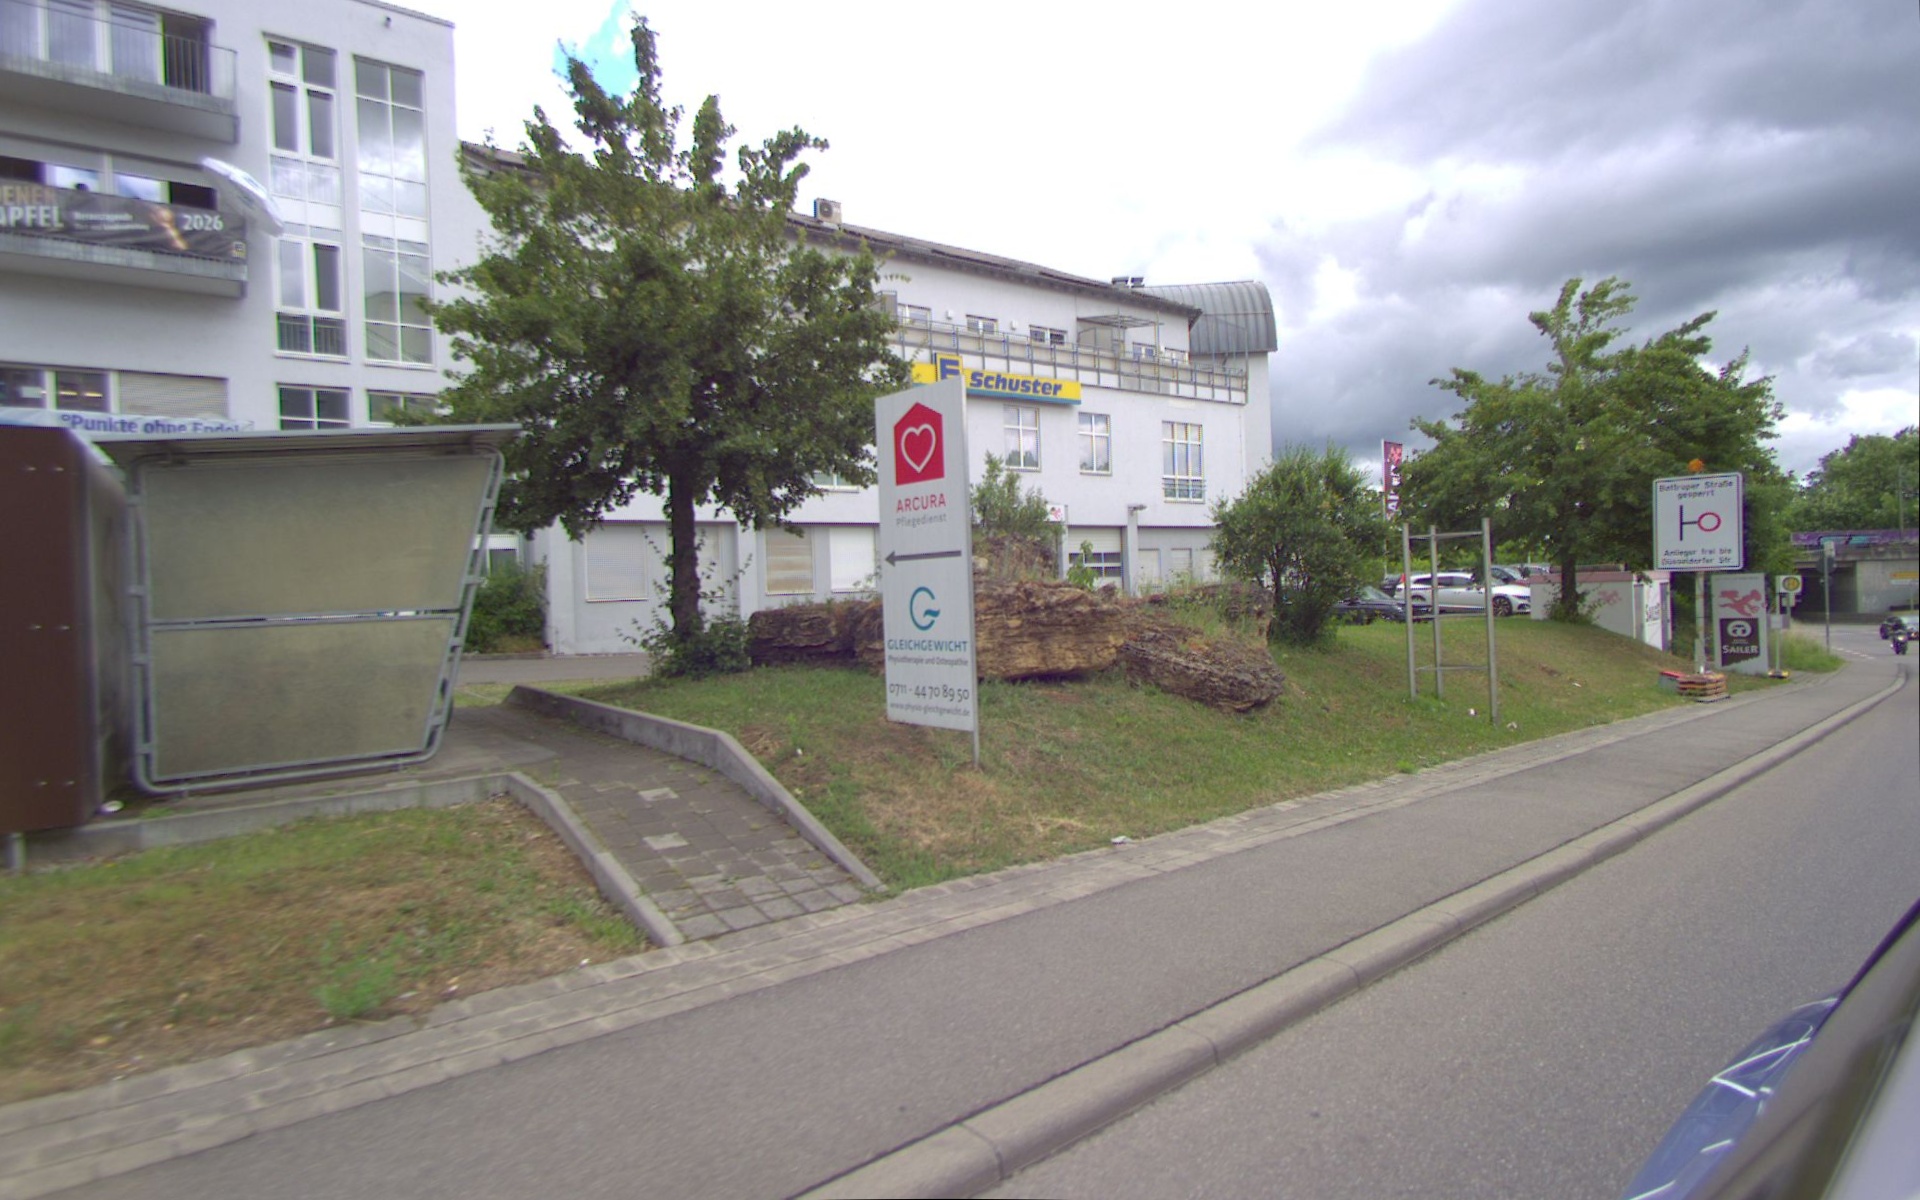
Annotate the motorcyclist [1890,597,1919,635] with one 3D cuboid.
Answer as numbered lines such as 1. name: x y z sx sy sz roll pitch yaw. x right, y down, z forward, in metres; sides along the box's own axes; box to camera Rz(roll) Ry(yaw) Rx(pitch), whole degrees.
1. motorcyclist: 42.399 0.702 45.361 0.878 1.626 1.226 -4 -2 39

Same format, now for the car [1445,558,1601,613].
1. car: 20.204 -0.482 36.516 1.796 1.659 4.512 -2 -2 -32

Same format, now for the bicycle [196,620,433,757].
1. bicycle: -5.029 0.645 7.936 1.526 0.964 0.492 0 -1 -38

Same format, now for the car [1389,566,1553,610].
1. car: 17.288 -0.388 34.459 1.685 1.398 4.706 -2 1 -39

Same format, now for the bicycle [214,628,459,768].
1. bicycle: -4.442 0.656 7.262 1.454 0.886 0.492 0 -1 -38

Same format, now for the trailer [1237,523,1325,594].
1. trailer: 16.398 -2.019 52.165 2.425 3.094 6.488 -3 -1 2

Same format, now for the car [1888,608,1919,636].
1. car: 58.006 1.304 60.892 1.739 1.553 4.222 -4 -2 22

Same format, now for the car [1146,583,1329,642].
1. car: 6.556 0.275 24.226 1.837 1.248 3.880 -2 1 -39

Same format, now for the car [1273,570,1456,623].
1. car: 10.535 -0.089 26.564 1.878 1.248 4.047 -2 1 -39

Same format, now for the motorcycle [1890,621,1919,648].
1. motorcycle: 42.556 1.552 45.499 0.878 1.118 2.327 -4 -2 39
